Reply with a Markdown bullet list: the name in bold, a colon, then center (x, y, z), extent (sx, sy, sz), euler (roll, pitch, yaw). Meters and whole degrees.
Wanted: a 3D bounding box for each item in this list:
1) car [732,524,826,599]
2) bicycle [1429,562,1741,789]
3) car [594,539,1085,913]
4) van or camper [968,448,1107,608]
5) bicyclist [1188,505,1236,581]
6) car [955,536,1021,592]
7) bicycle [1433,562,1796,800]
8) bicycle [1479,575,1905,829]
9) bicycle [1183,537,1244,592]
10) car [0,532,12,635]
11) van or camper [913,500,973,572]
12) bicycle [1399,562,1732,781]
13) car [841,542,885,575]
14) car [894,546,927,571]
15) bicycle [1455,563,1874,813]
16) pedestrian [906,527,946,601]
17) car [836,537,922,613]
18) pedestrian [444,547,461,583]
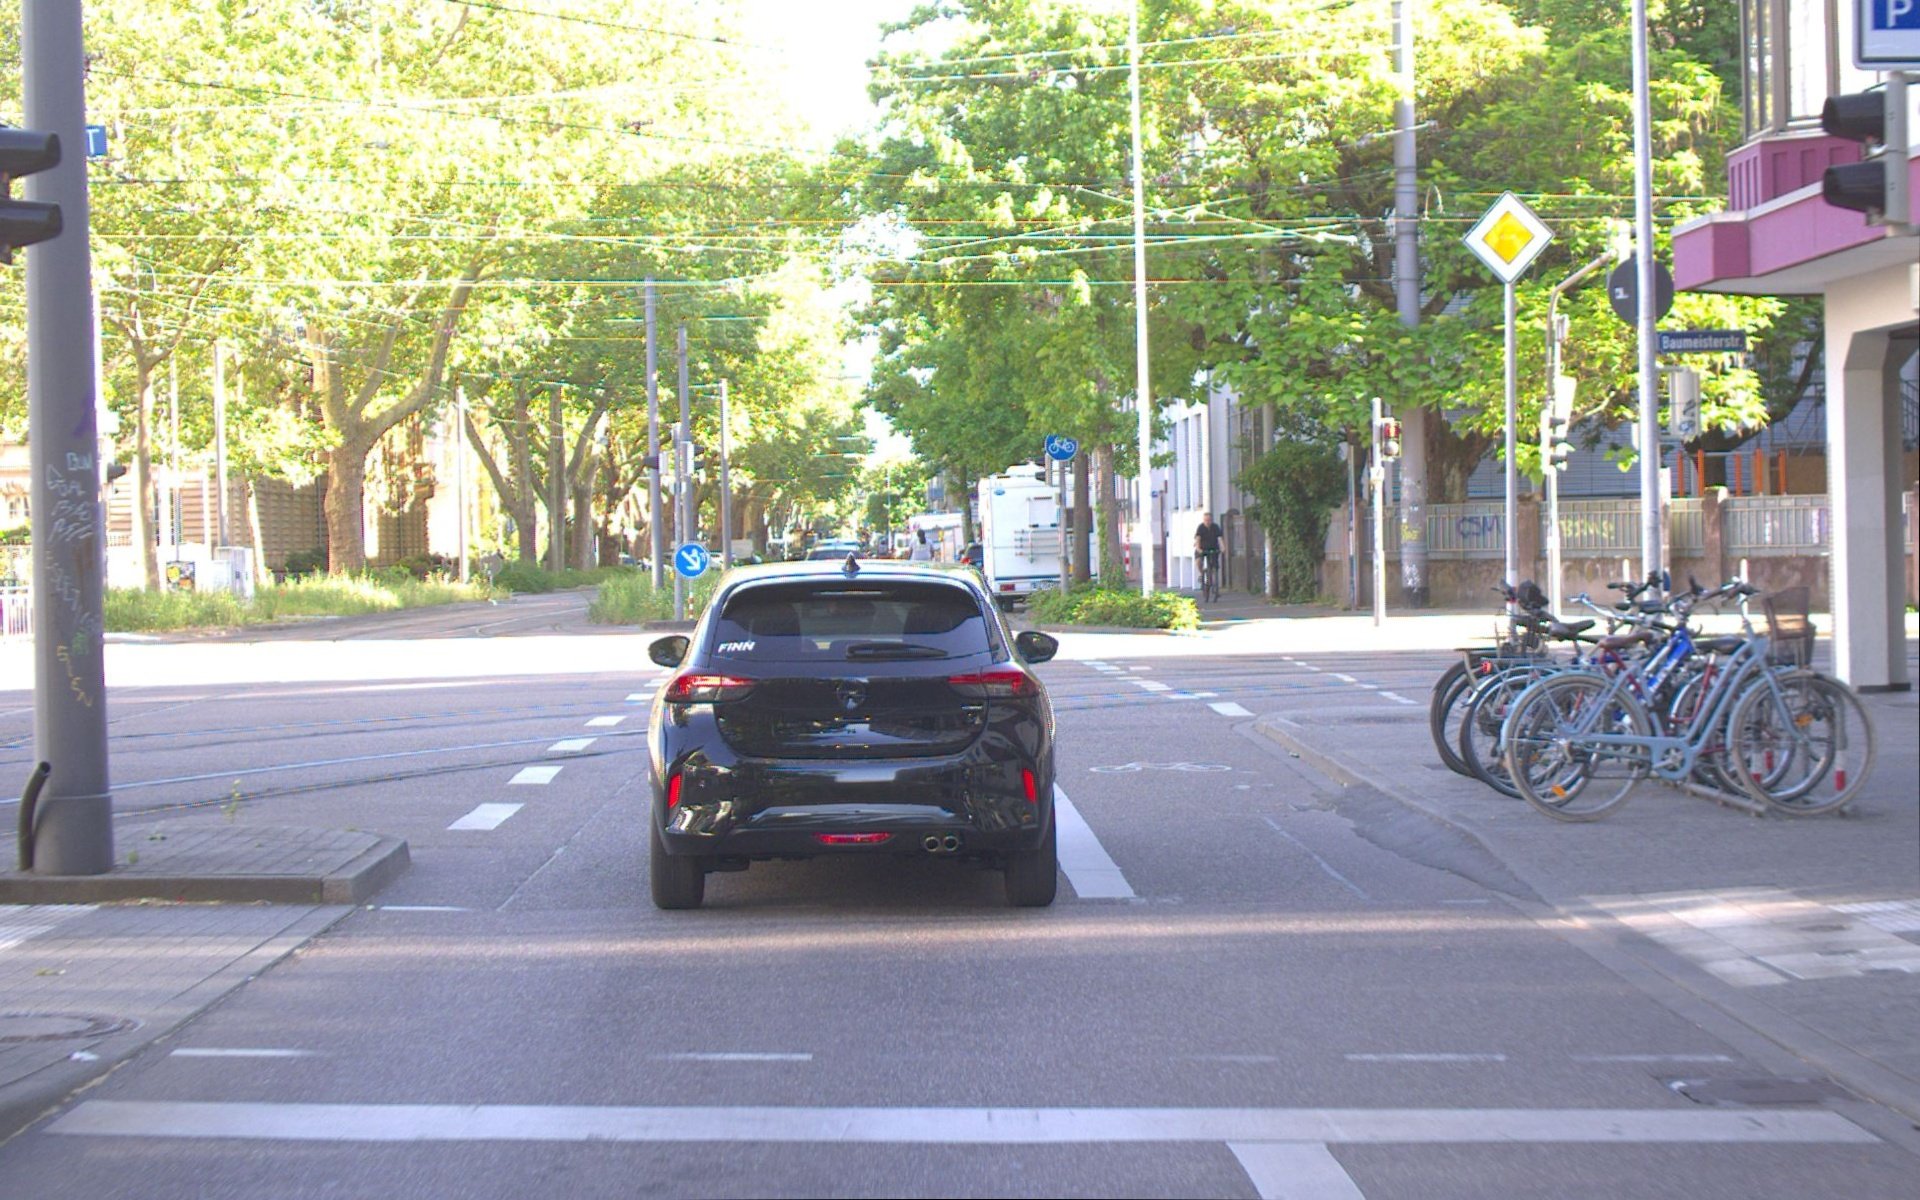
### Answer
- **car**: center (-4.076, -0.896, 78.003), extent (1.993, 1.622, 4.471), euler (1, 1, -2)
- **bicycle**: center (3.428, 0.411, 18.941), extent (1.623, 1.195, 0.496), euler (-1, 1, 4)
- **car**: center (-0.471, 0.458, 15.628), extent (1.905, 1.420, 4.215), euler (-1, 1, 0)
- **van or camper**: center (1.597, -1.546, 74.018), extent (2.375, 3.114, 7.552), euler (-4, 1, -2)
- **bicyclist**: center (5.020, -1.133, 68.483), extent (0.748, 1.504, 0.702), euler (-1, 1, -13)
- **car**: center (0.795, -1.078, 100.909), extent (1.790, 1.505, 3.874), euler (-3, 1, 0)
- **bicycle**: center (3.482, 0.426, 18.370), extent (1.831, 1.216, 0.496), euler (-1, 1, 3)
- **bicycle**: center (3.580, 0.489, 16.871), extent (1.939, 1.166, 0.572), euler (-1, 1, -3)
- **bicycle**: center (5.041, -0.704, 68.445), extent (0.639, 1.066, 1.951), euler (-2, 1, -13)
- **car**: center (-19.306, -0.246, 63.425), extent (1.994, 1.941, 4.423), euler (-1, 1, 6)
- **van or camper**: center (-0.705, -2.723, 147.310), extent (2.486, 2.983, 5.434), euler (1, 1, 0)
- **bicycle**: center (3.450, 0.405, 19.688), extent (1.802, 1.195, 0.545), euler (-1, 0, 4)
- **car**: center (-4.452, -1.917, 158.138), extent (1.905, 1.420, 4.215), euler (-1, 1, 0)
- **car**: center (-2.923, -2.488, 204.727), extent (1.905, 1.420, 4.215), euler (-1, 1, 0)
- **bicycle**: center (3.573, 0.432, 17.490), extent (1.976, 1.195, 0.591), euler (-1, 1, -5)
- **pedestrian**: center (-0.942, -0.994, 94.655), extent (1.036, 2.017, 1.212), euler (-1, 1, -2)
- **car**: center (-1.799, -0.579, 75.491), extent (1.832, 1.617, 4.285), euler (0, 1, -2)
- **pedestrian**: center (-23.545, -1.625, 159.467), extent (0.658, 1.616, 0.615), euler (1, 1, -2)
